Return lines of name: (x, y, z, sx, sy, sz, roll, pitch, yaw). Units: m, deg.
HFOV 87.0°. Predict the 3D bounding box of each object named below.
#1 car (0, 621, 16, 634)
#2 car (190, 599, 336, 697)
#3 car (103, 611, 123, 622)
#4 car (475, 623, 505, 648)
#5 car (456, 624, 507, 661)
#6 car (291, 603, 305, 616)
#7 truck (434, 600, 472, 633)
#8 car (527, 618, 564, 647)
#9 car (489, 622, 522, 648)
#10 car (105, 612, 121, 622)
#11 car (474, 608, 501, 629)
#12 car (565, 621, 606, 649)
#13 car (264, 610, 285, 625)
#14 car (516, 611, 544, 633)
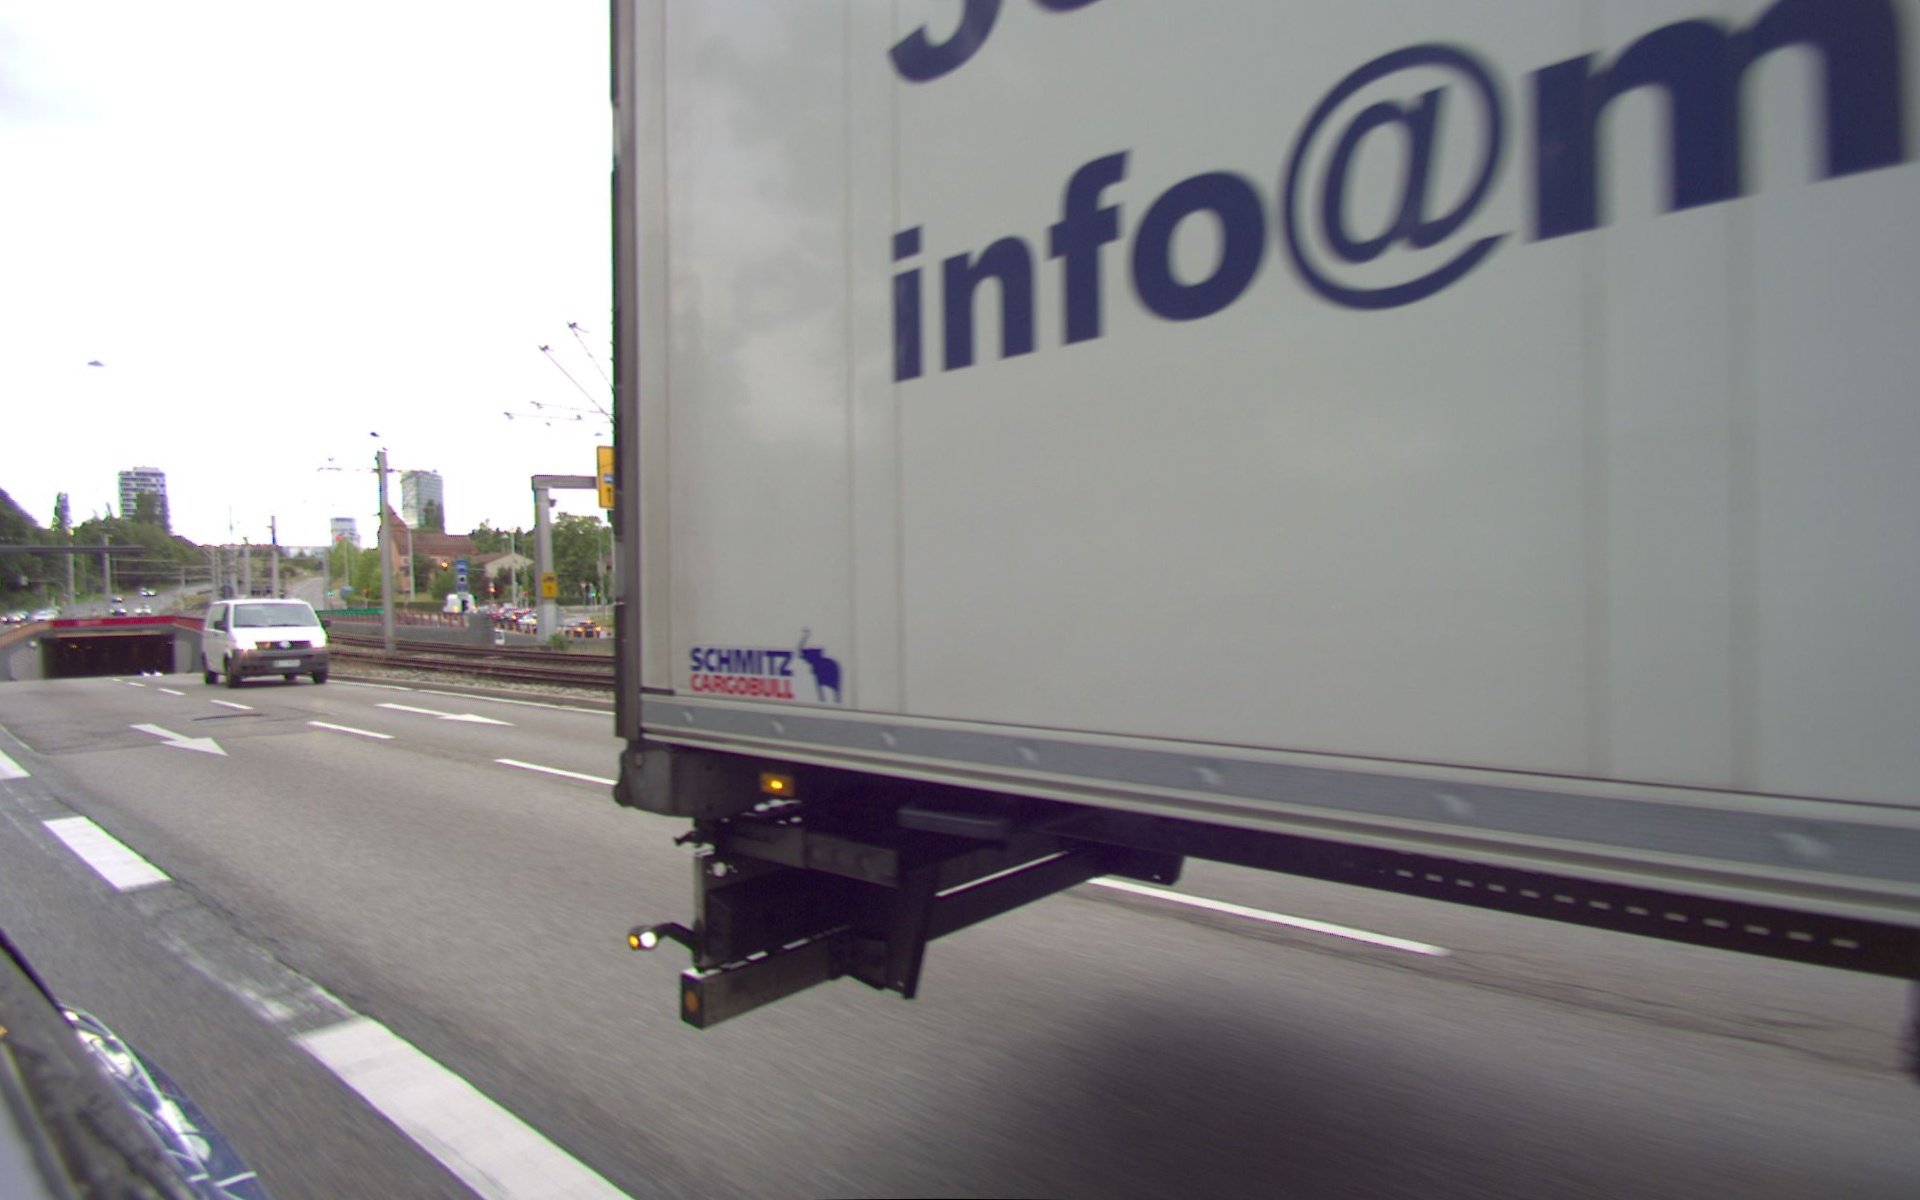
car: (-123.392, 3.573, 130.604, 1.860, 1.482, 4.017, -1, -2, -37)
car: (-16.212, 1.079, 23.436, 4.688, 2.042, 1.971, -2, -2, 45)
car: (-130.082, 2.510, 155.481, 1.710, 1.599, 4.013, 0, 2, -30)
car: (-44.987, 3.402, 96.788, 1.967, 2.028, 4.215, -1, 3, -34)
car: (-31.554, 2.755, 66.625, 1.968, 2.134, 5.121, -1, 1, -38)
car: (-114.552, 1.683, 175.206, 1.966, 2.028, 4.012, -1, 2, -32)
truck: (-53.793, 1.726, 107.357, 5.288, 3.209, 1.971, 3, 3, 44)
car: (-34.387, 2.655, 83.898, 1.967, 2.028, 4.215, -1, 3, -34)
car: (-41.210, 3.149, 91.681, 1.967, 2.028, 4.215, -1, 3, -34)
car: (-130.163, 2.649, 155.586, 1.774, 1.482, 4.008, -1, 1, -38)
car: (-51.318, 1.977, 109.865, 1.967, 2.028, 4.215, -1, 3, -34)
car: (-28.354, 2.618, 76.587, 1.967, 2.029, 4.010, -1, -1, -35)
car: (-106.601, 2.670, 157.439, 1.965, 2.028, 4.014, 0, 2, -25)
car: (-45.376, 2.307, 106.700, 1.967, 2.028, 4.215, -1, 3, -34)
